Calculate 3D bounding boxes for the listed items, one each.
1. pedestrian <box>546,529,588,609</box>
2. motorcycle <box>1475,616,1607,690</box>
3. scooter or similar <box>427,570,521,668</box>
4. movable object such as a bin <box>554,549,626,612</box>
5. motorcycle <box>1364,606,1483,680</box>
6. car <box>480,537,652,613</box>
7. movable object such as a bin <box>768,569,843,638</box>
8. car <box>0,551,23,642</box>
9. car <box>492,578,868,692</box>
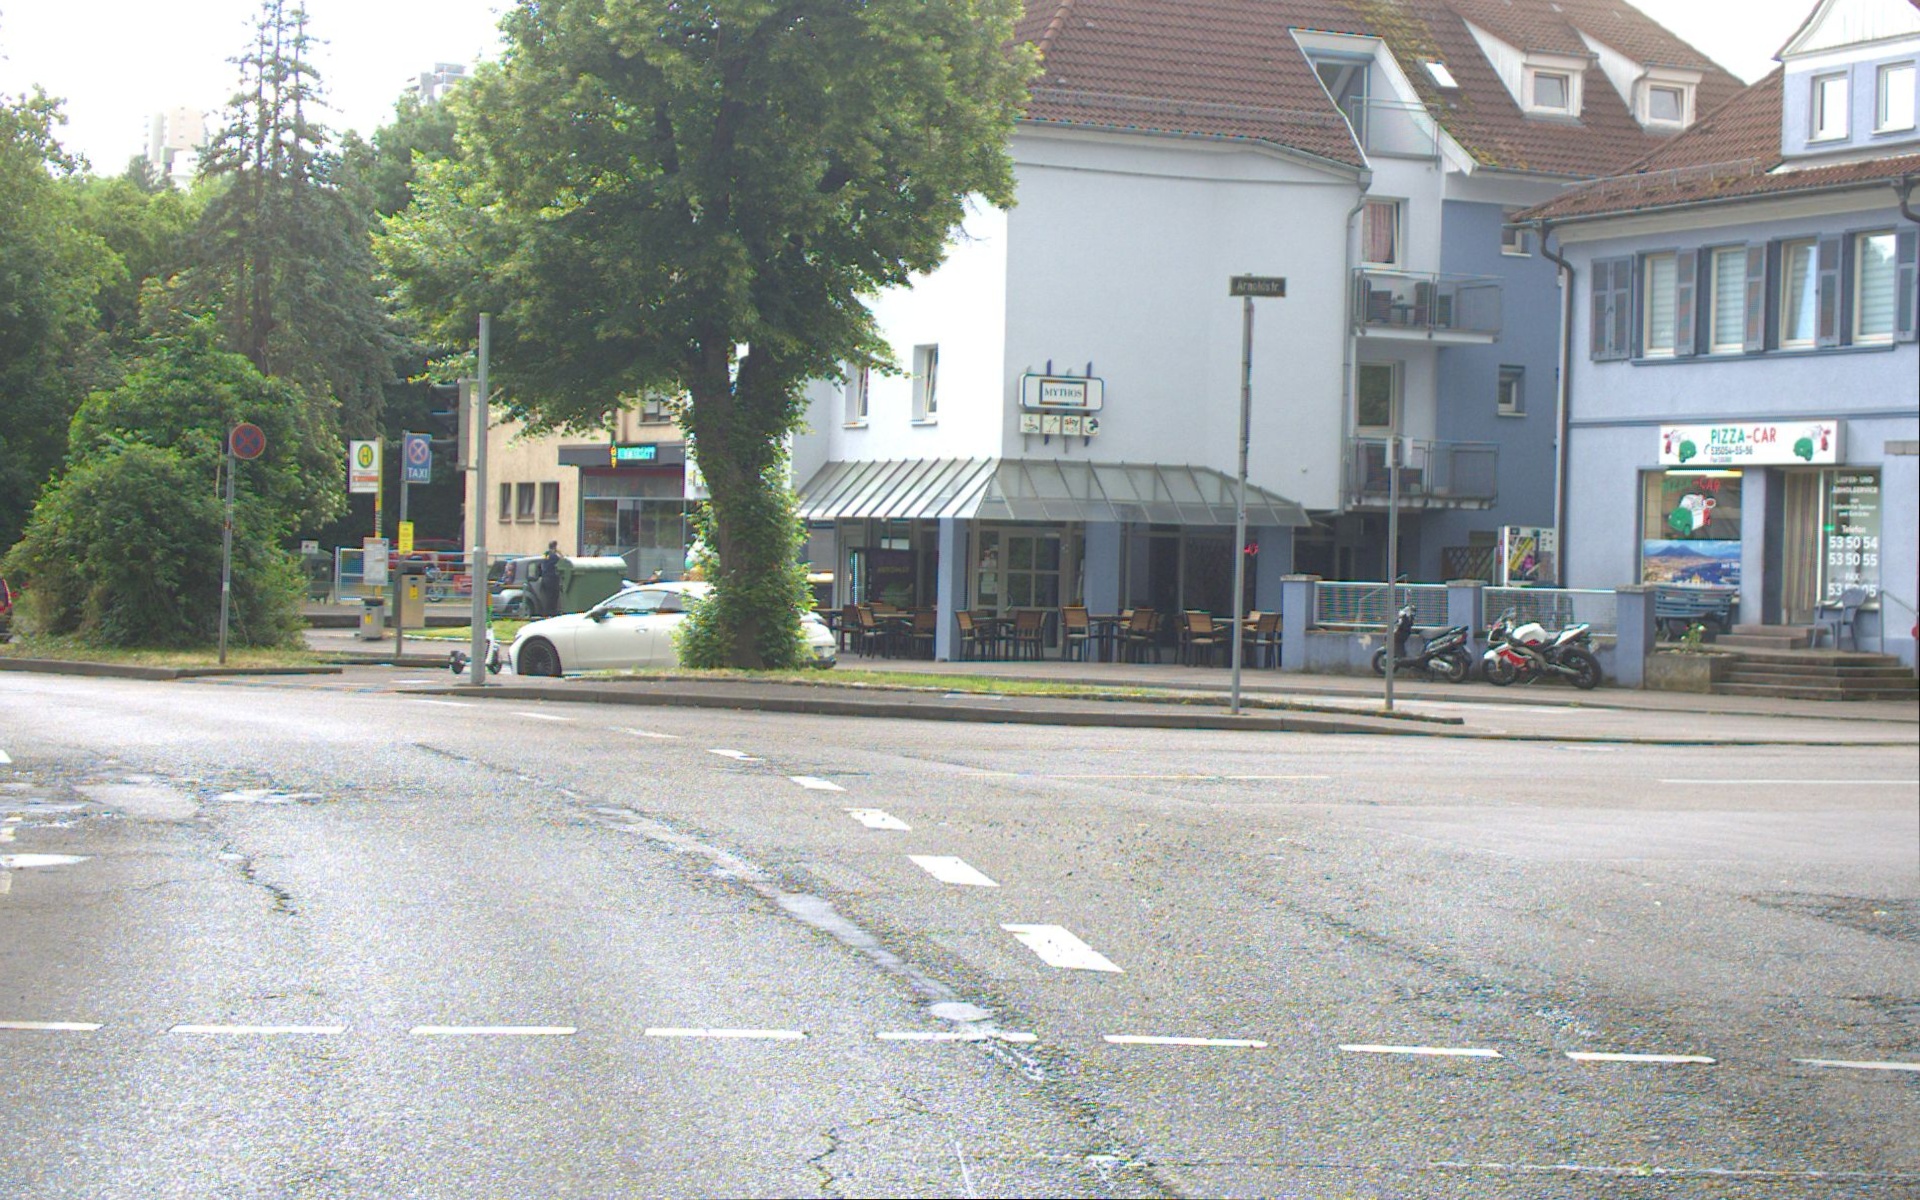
[{"bbox_3d":[-8.525,-0.664,74.590,0.687,1.723,0.611,1,0,-32],"label":"pedestrian"},{"bbox_3d":[8.157,0.740,48.345,1.822,0.982,0.520,2,1,43],"label":"motorcycle"},{"bbox_3d":[-6.034,0.245,42.726,0.412,1.163,1.360,2,-2,26],"label":"scooter or similar"},{"bbox_3d":[-7.957,-0.418,73.942,1.216,1.340,0.995,1,1,-31],"label":"movable object such as a bin"},{"bbox_3d":[6.746,0.617,50.104,1.724,1.028,0.488,2,1,43],"label":"motorcycle"},{"bbox_3d":[-8.675,-0.548,75.694,3.413,1.625,1.625,1,1,-25],"label":"car"},{"bbox_3d":[-3.166,0.063,70.474,1.214,1.390,1.161,1,0,-22],"label":"movable object such as a bin"},{"bbox_3d":[-16.513,-0.119,53.663,3.489,1.399,1.571,3,1,28],"label":"car"},{"bbox_3d":[-3.749,0.439,45.740,4.782,1.382,1.996,1,1,34],"label":"car"}]
